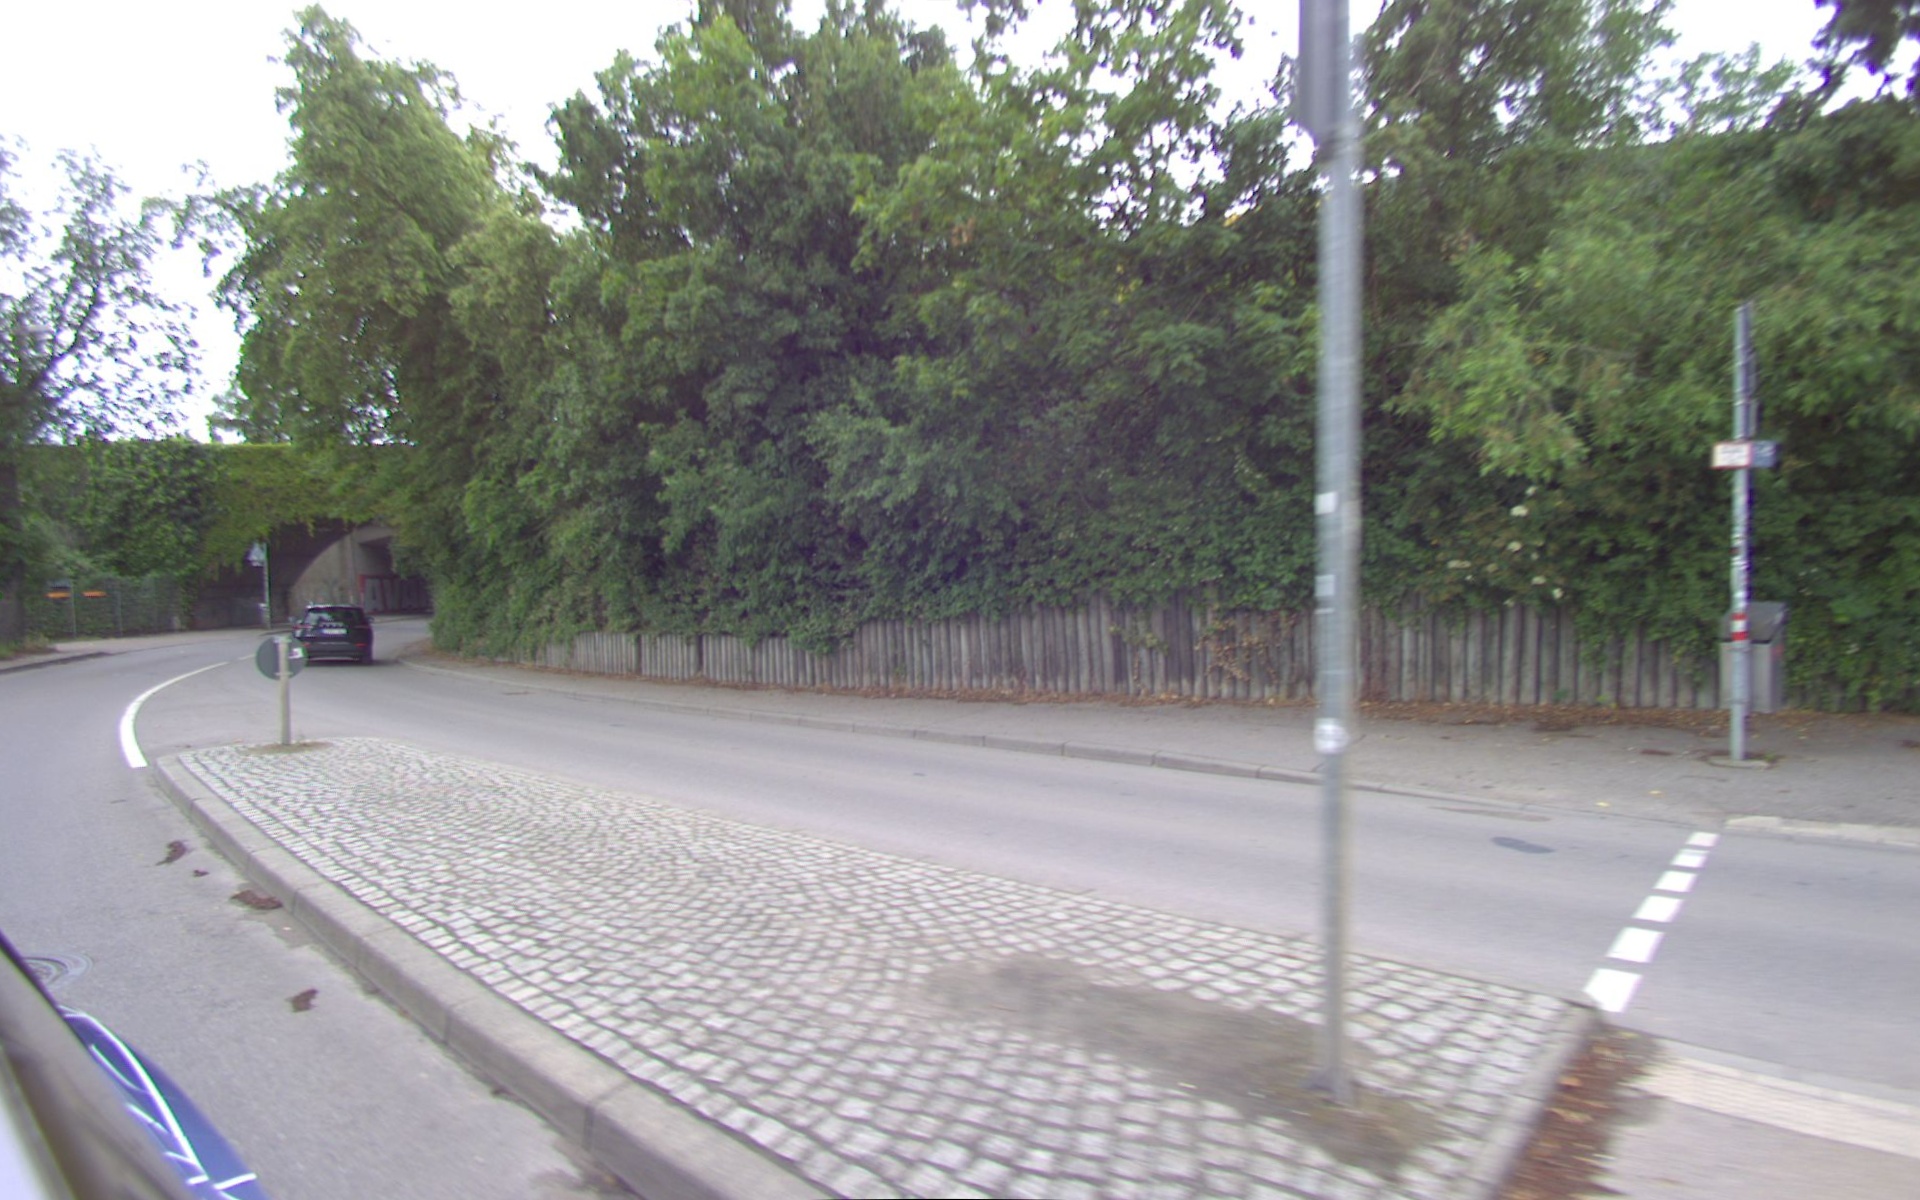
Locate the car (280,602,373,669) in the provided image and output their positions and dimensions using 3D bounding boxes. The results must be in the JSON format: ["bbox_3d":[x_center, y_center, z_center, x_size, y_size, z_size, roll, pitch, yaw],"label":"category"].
[{"bbox_3d":[-16.841,0.899,26.828,1.778,1.622,4.186,1,-1,-36],"label":"car"}]
